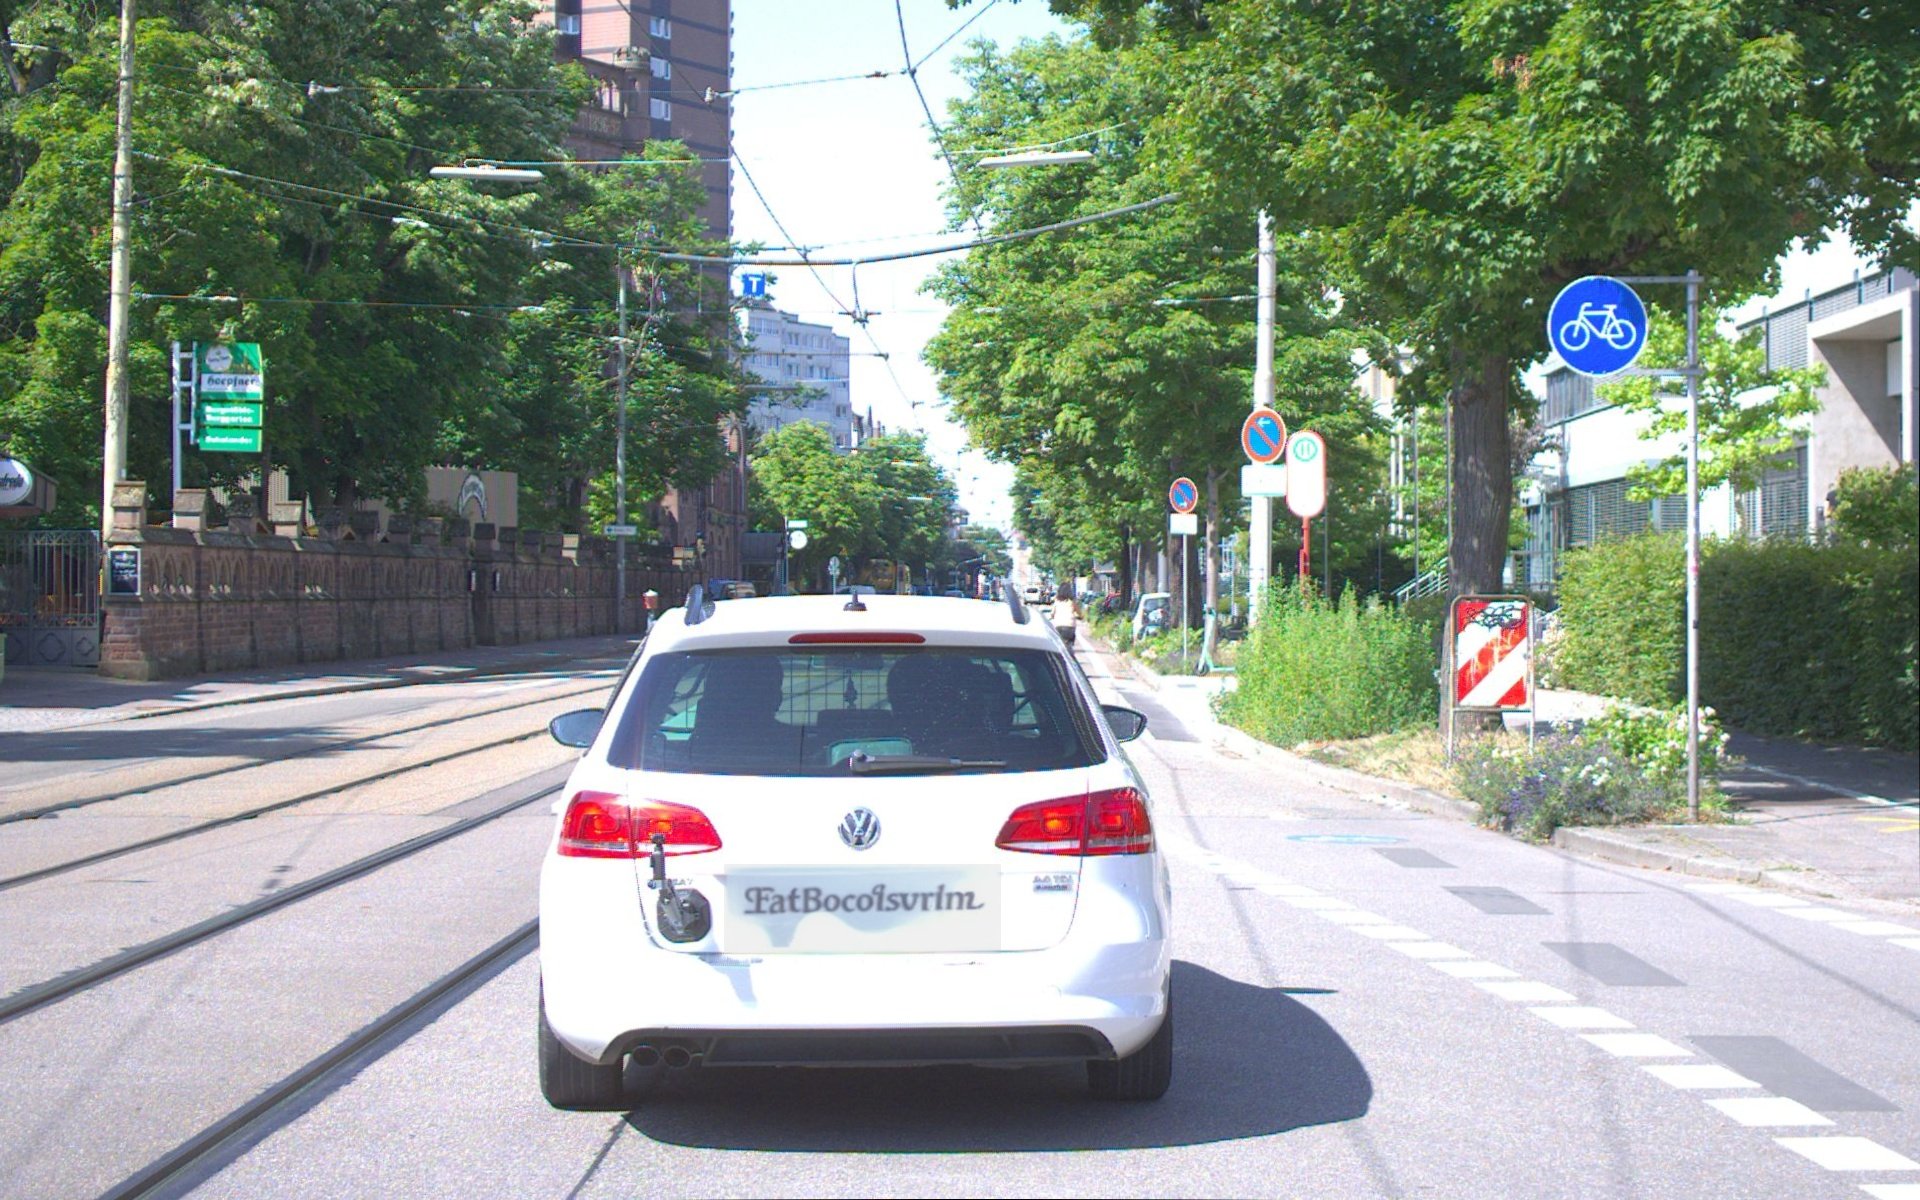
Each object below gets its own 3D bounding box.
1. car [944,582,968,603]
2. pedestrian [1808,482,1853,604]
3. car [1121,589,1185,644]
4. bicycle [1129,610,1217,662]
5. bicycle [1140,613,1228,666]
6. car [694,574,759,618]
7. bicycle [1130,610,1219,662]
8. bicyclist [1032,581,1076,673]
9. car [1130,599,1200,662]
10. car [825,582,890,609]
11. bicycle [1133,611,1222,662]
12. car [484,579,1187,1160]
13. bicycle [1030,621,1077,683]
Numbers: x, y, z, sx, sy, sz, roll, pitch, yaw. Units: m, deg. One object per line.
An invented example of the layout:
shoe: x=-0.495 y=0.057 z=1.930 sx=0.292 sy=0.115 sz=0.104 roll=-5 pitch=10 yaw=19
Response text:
car: x=-0.262 y=-0.524 z=235.158 sx=1.493 sy=1.380 sz=3.642 roll=0 pitch=0 yaw=2
pedestrian: x=12.401 y=-0.804 z=49.007 sx=0.498 sy=1.722 sz=0.547 roll=0 pitch=0 yaw=1
car: x=5.260 y=0.436 z=94.288 sx=1.664 sy=1.439 sz=4.633 roll=0 pitch=0 yaw=2
bicycle: x=4.808 y=0.814 z=77.720 sx=1.911 sy=1.079 sz=0.551 roll=3 pitch=0 yaw=-1
bicycle: x=4.652 y=0.816 z=71.515 sx=1.774 sy=1.079 sz=0.596 roll=0 pitch=0 yaw=-1
car: x=-9.481 y=-0.166 z=139.946 sx=1.994 sy=1.751 sz=4.711 roll=0 pitch=0 yaw=4
bicycle: x=4.814 y=0.808 z=77.107 sx=1.911 sy=1.079 sz=0.551 roll=3 pitch=0 yaw=-1
bicyclist: x=1.687 y=0.483 z=61.714 sx=0.786 sy=1.624 sz=0.738 roll=0 pitch=-2 yaw=2
car: x=4.889 y=0.714 z=82.330 sx=1.590 sy=1.446 sz=3.945 roll=0 pitch=0 yaw=2
car: x=-6.985 y=-0.339 z=234.985 sx=3.987 sy=1.810 sz=2.000 roll=0 pitch=0 yaw=-34
bicycle: x=4.839 y=0.814 z=76.507 sx=1.911 sy=1.079 sz=0.551 roll=2 pitch=0 yaw=-1
car: x=-0.319 y=0.660 z=10.805 sx=1.753 sy=1.437 sz=4.413 roll=0 pitch=0 yaw=0
bicycle: x=1.676 y=0.918 z=61.580 sx=0.811 sy=1.074 sz=2.012 roll=0 pitch=0 yaw=2
